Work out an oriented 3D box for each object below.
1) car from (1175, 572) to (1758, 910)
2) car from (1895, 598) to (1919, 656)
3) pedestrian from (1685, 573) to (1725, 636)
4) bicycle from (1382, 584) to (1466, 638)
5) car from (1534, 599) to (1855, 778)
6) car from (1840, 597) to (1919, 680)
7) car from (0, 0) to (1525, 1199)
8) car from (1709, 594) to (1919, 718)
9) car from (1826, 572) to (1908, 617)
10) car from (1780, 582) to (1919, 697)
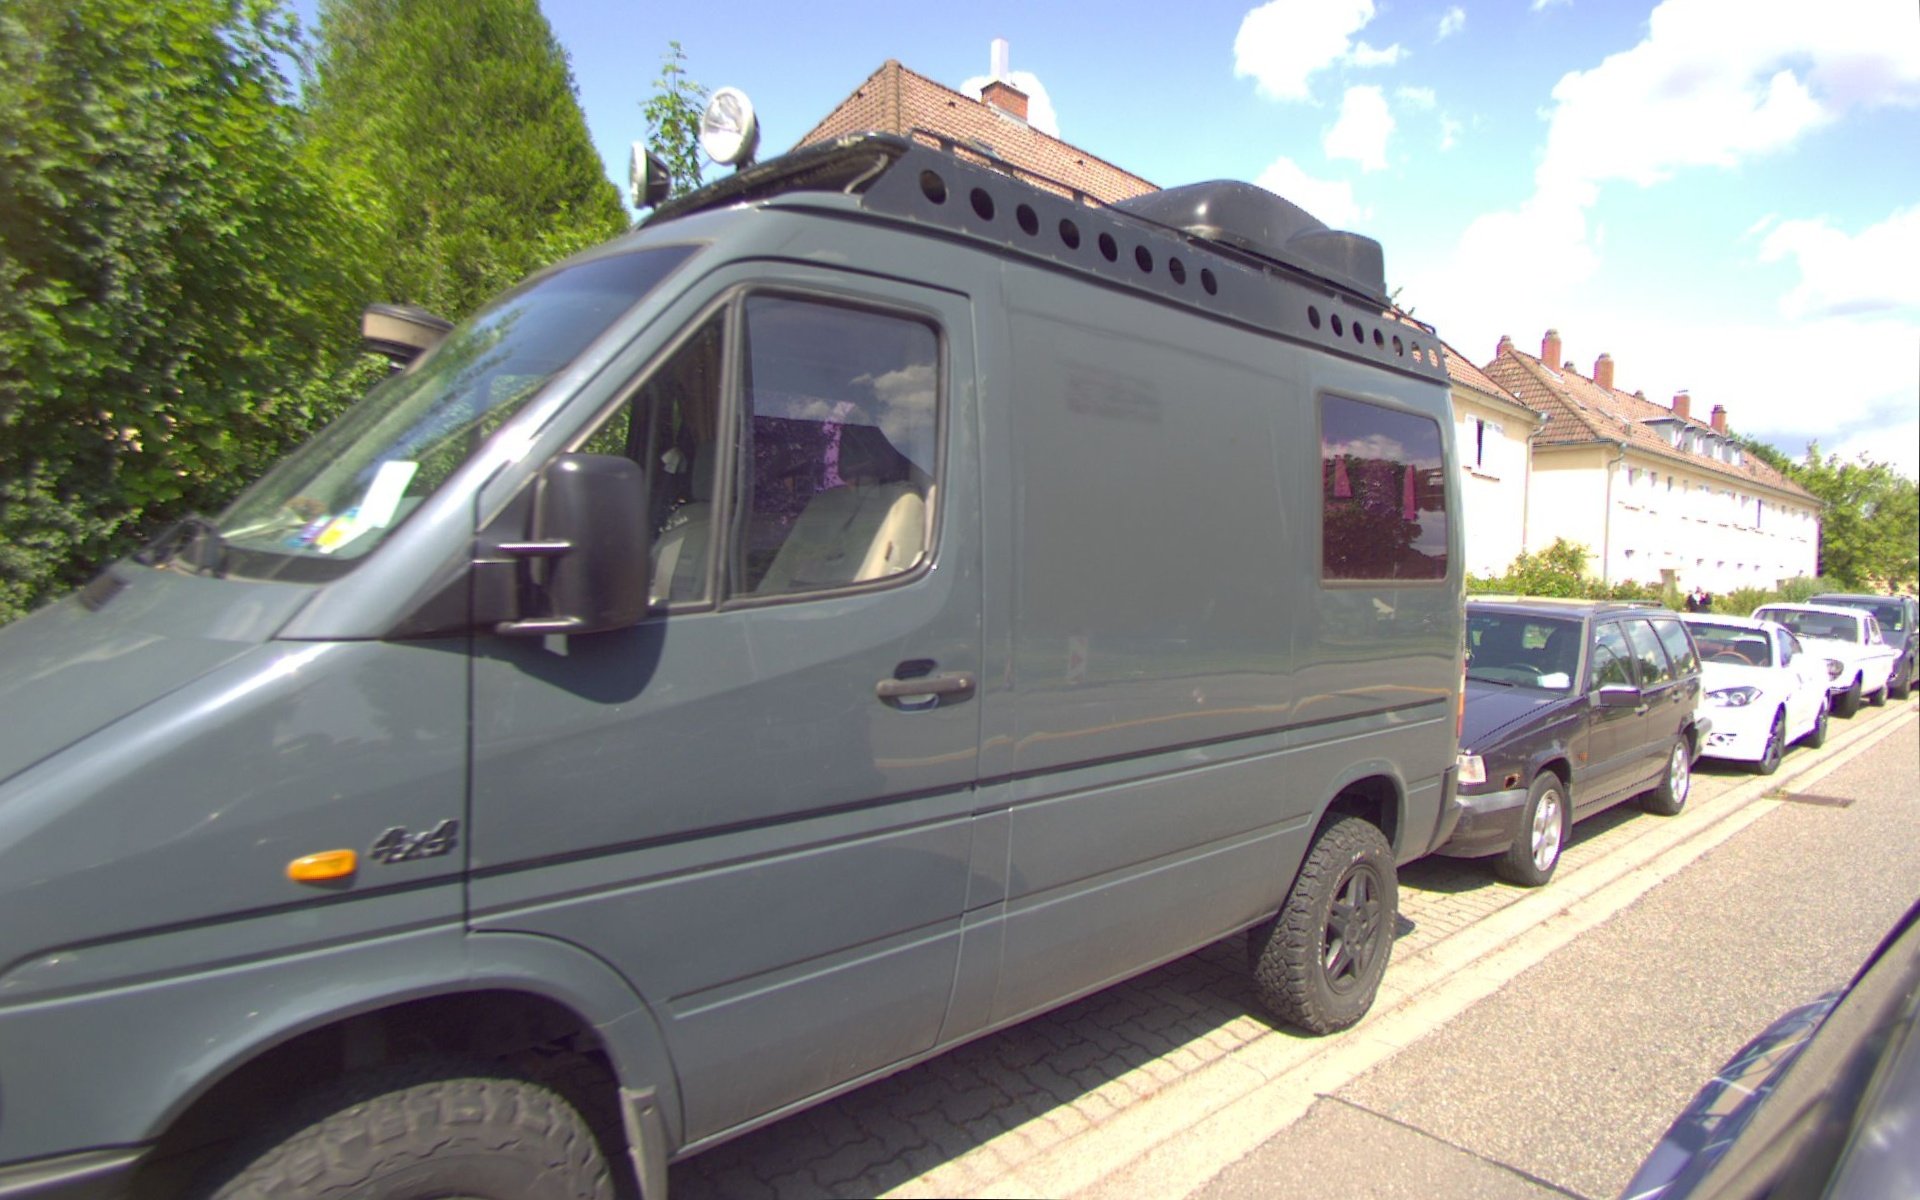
[{"bbox_3d":[3.603,0.621,6.680,4.752,1.419,1.725,1,3,-41],"label":"car"},{"bbox_3d":[26.184,0.733,26.718,3.830,1.446,1.702,0,3,-41],"label":"car"},{"bbox_3d":[20.512,0.113,27.857,0.885,1.658,0.617,0,3,-41],"label":"pedestrian"},{"bbox_3d":[10.247,0.224,22.402,0.285,1.116,1.693,1,1,-41],"label":"bicycle"},{"bbox_3d":[7.390,0.720,10.034,4.058,1.311,1.724,1,3,-42],"label":"car"},{"bbox_3d":[19.466,0.730,20.602,4.438,1.454,1.689,-1,4,-41],"label":"car"},{"bbox_3d":[-0.330,0.063,3.121,4.793,2.794,2.000,1,3,-41],"label":"car"},{"bbox_3d":[12.280,0.706,14.440,3.954,1.435,1.653,1,3,-41],"label":"car"},{"bbox_3d":[39.571,-0.243,44.147,3.973,1.768,1.928,1,2,-38],"label":"car"},{"bbox_3d":[15.597,0.606,17.340,4.197,1.650,1.682,1,3,-42],"label":"car"}]
